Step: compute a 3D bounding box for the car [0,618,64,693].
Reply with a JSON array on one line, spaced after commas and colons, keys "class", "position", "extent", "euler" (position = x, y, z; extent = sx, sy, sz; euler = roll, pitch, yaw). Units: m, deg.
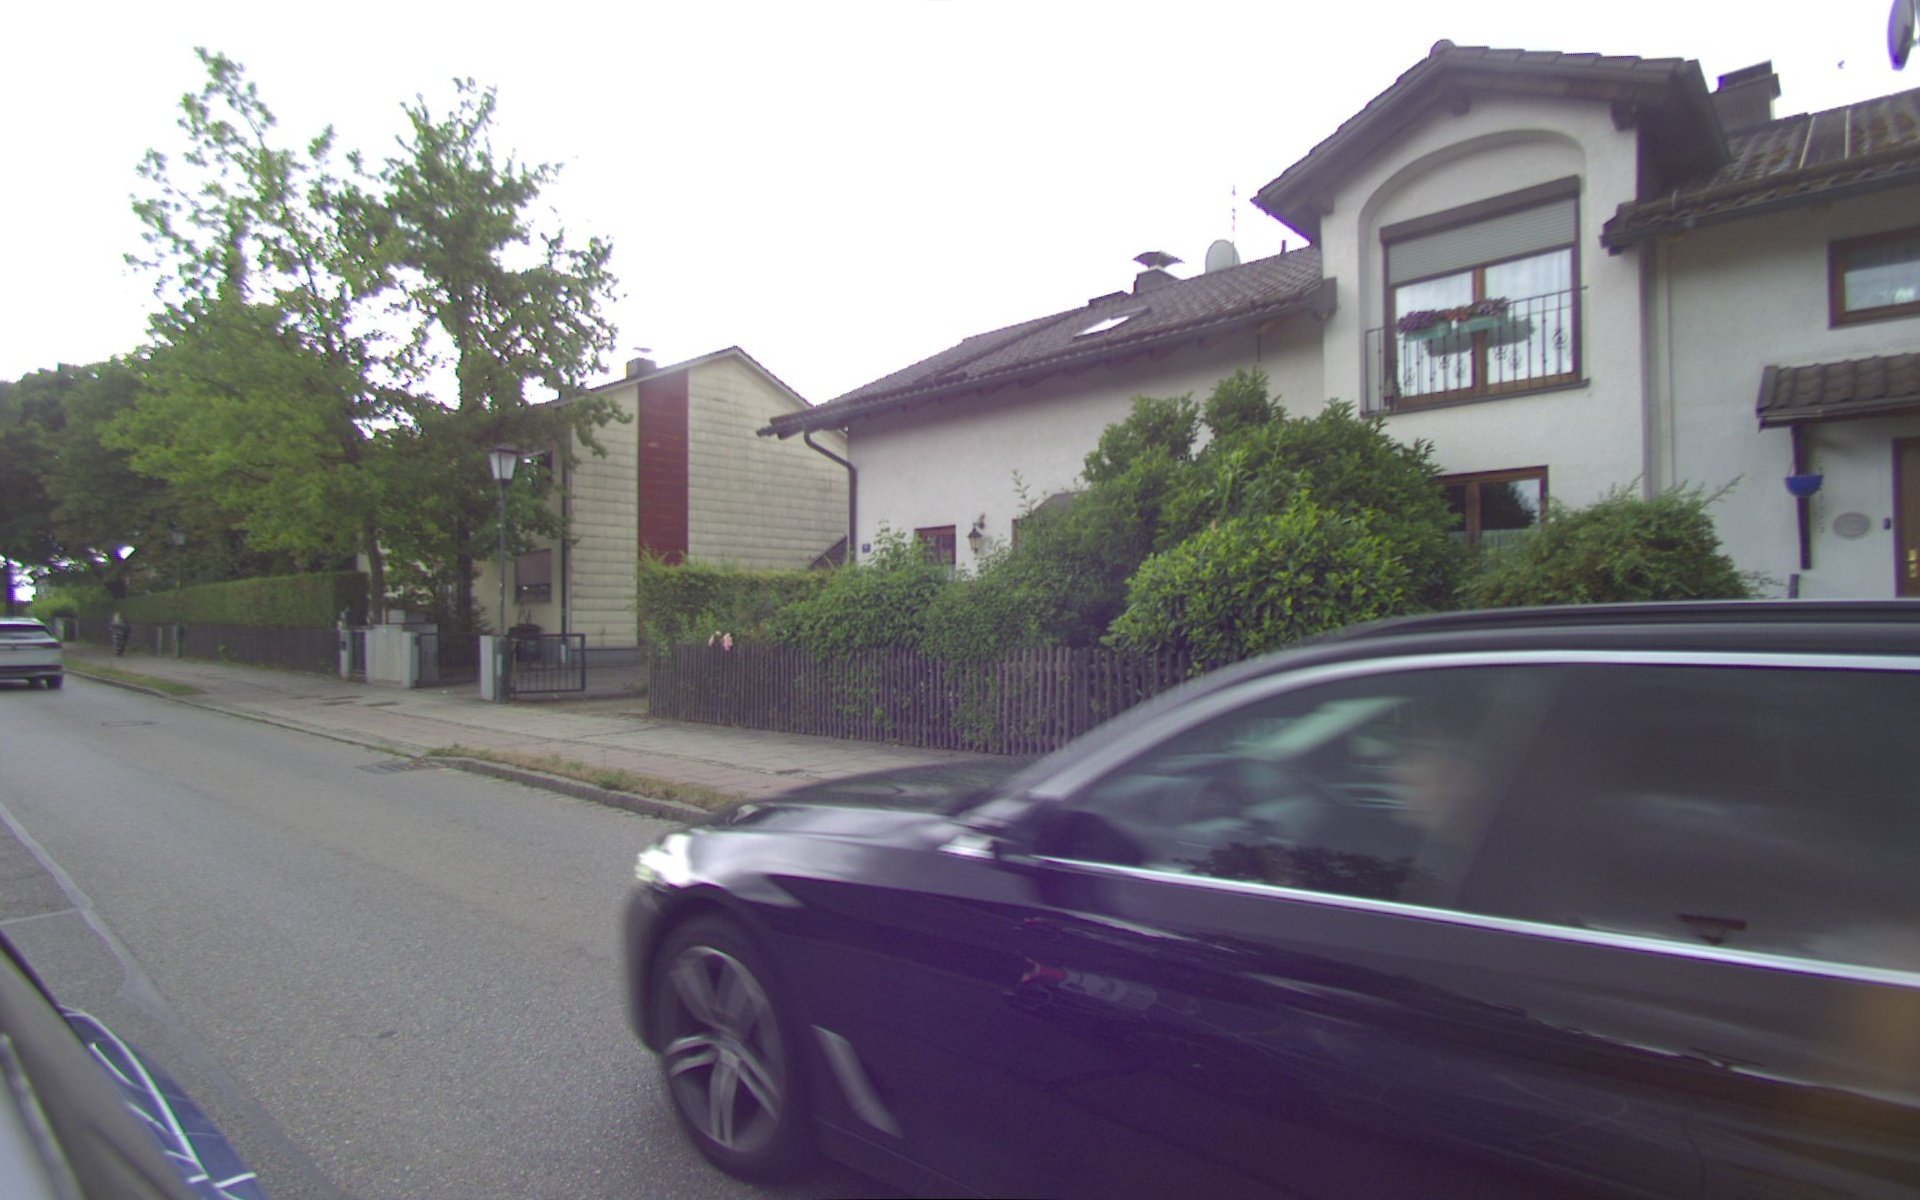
[{"class": "car", "position": [-20.652, 1.134, 21.601], "extent": [4.374, 1.495, 1.733], "euler": [-1, -3, 42]}]

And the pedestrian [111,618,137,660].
[{"class": "pedestrian", "position": [-29.715, 1.379, 35.983], "extent": [0.563, 1.448, 0.623], "euler": [-1, -1, 41]}]

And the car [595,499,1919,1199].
[{"class": "car", "position": [1.287, 0.646, 2.006], "extent": [4.547, 1.465, 1.827], "euler": [-1, -2, 41]}]
